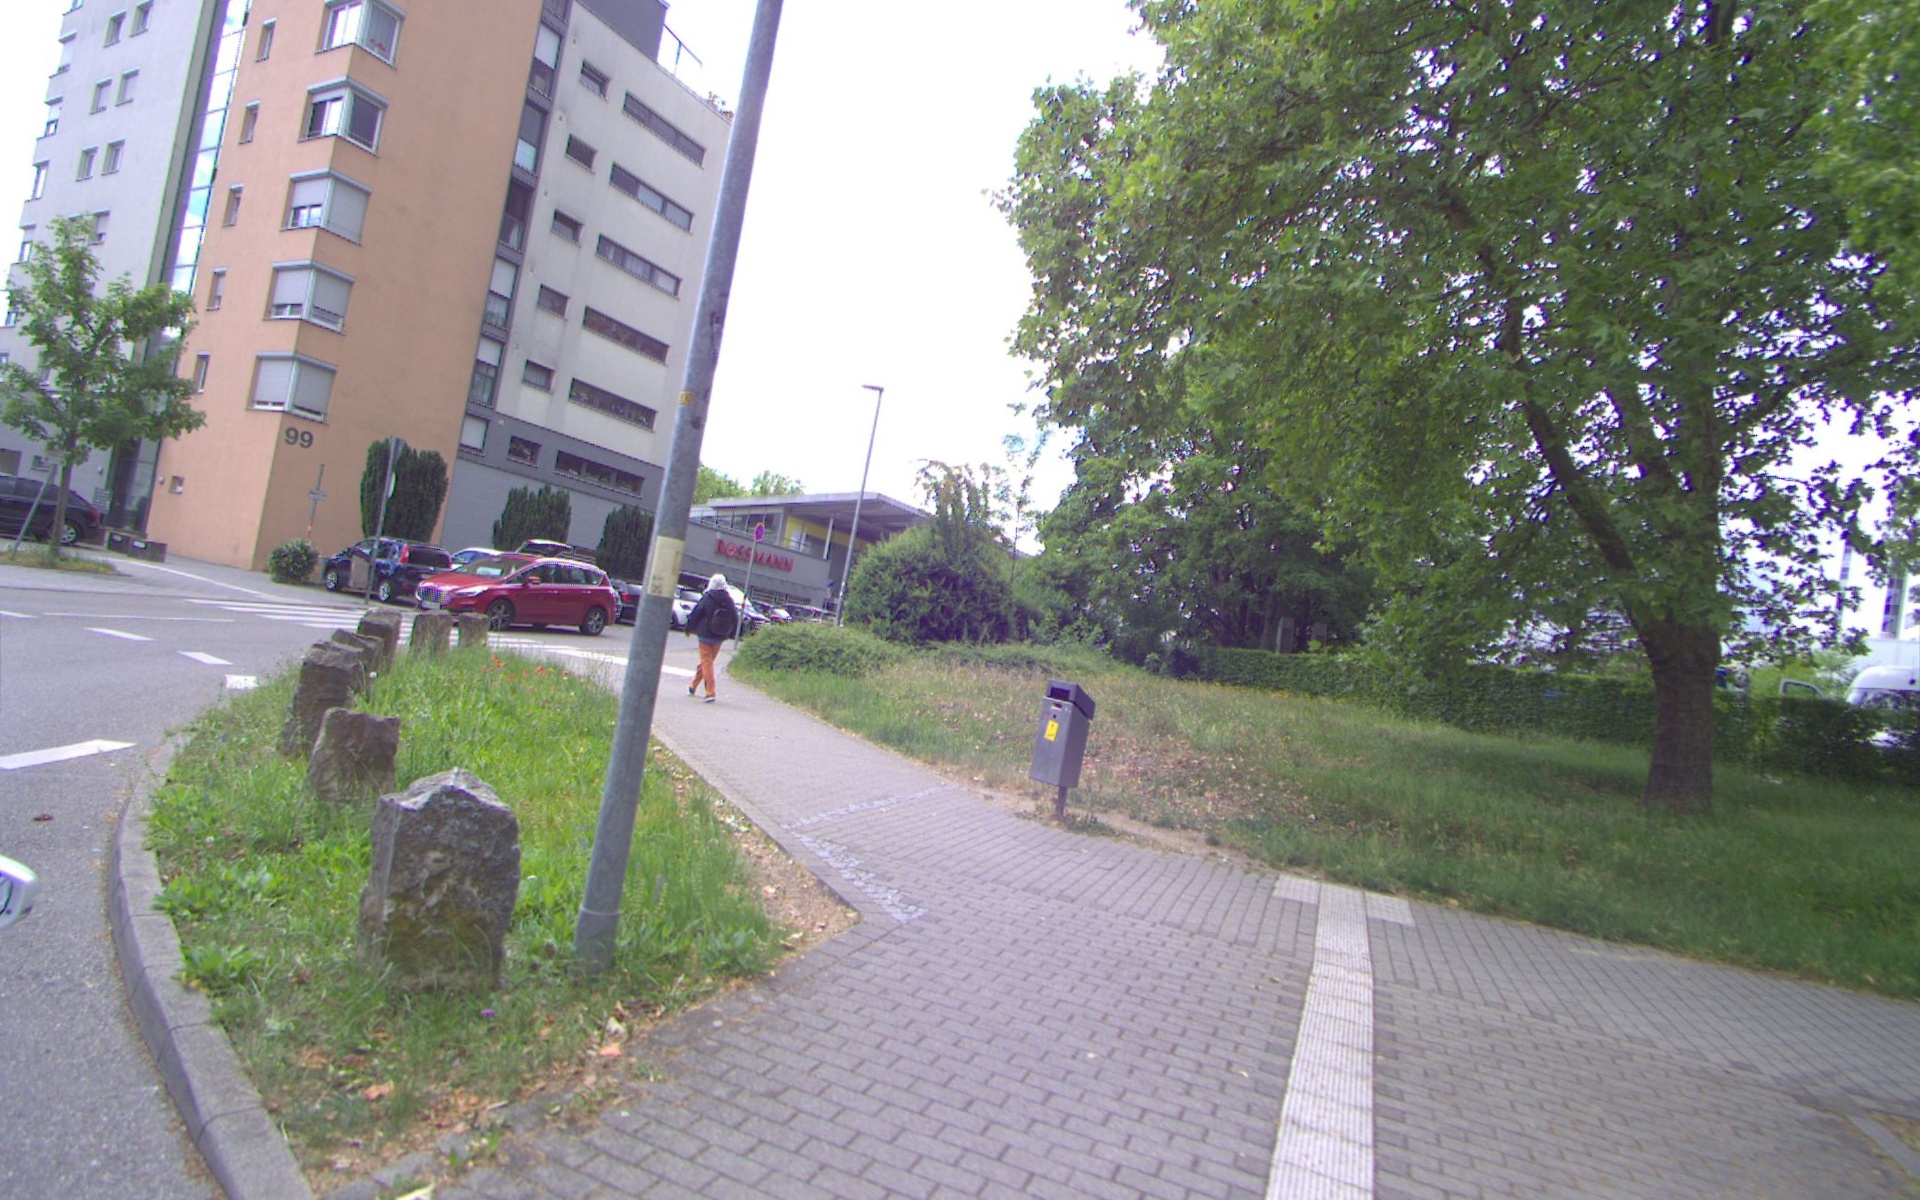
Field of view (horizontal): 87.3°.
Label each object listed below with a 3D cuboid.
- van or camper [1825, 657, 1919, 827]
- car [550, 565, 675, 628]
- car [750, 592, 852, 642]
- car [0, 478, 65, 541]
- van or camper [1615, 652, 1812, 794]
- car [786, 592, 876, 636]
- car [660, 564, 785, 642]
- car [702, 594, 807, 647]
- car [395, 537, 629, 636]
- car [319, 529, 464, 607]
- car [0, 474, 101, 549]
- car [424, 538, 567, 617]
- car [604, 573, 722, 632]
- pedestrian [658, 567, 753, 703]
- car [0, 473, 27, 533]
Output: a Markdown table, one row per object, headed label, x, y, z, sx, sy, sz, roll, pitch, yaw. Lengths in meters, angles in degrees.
| label | x | y | z | sx | sy | sz | roll | pitch | yaw |
| --- | --- | --- | --- | --- | --- | --- | --- | --- | --- |
| van or camper | 18.266 | 2.810 | 18.455 | 4.435 | 2.828 | 2.100 | 10 | -3 | -30 |
| car | -11.049 | -0.125 | 31.930 | 3.714 | 1.500 | 1.639 | 7 | -1 | 31 |
| car | -6.363 | 0.668 | 40.273 | 3.714 | 1.500 | 1.639 | 7 | -1 | 31 |
| car | -26.724 | -2.688 | 26.834 | 1.666 | 1.474 | 3.835 | 7 | -4 | 34 |
| van or camper | 18.625 | 3.047 | 24.829 | 4.435 | 2.828 | 2.100 | 10 | -3 | -30 |
| car | -5.872 | 0.617 | 45.807 | 3.714 | 1.500 | 1.639 | 7 | -1 | 31 |
| car | -8.501 | 0.113 | 35.928 | 3.910 | 2.184 | 1.829 | 7 | -3 | 31 |
| car | -7.894 | 0.777 | 38.559 | 3.714 | 1.500 | 1.639 | 7 | -1 | 31 |
| car | -9.750 | -0.209 | 22.355 | 1.944 | 1.664 | 4.535 | 7 | -1 | 22 |
| car | -14.071 | -0.793 | 24.877 | 3.467 | 1.494 | 1.502 | 7 | 0 | 31 |
| car | -24.816 | -2.470 | 25.621 | 1.728 | 1.534 | 4.050 | 7 | -4 | 34 |
| car | -12.637 | -0.615 | 27.332 | 3.714 | 1.679 | 1.570 | 7 | 0 | 31 |
| car | -10.067 | 0.069 | 34.022 | 3.714 | 1.500 | 1.639 | 7 | -1 | 31 |
| pedestrian | -3.409 | 0.463 | 13.493 | 0.827 | 1.683 | 0.614 | 7 | -2 | 35 |
| car | -28.884 | -3.082 | 27.777 | 1.663 | 1.611 | 4.134 | 7 | -3 | 27 |
